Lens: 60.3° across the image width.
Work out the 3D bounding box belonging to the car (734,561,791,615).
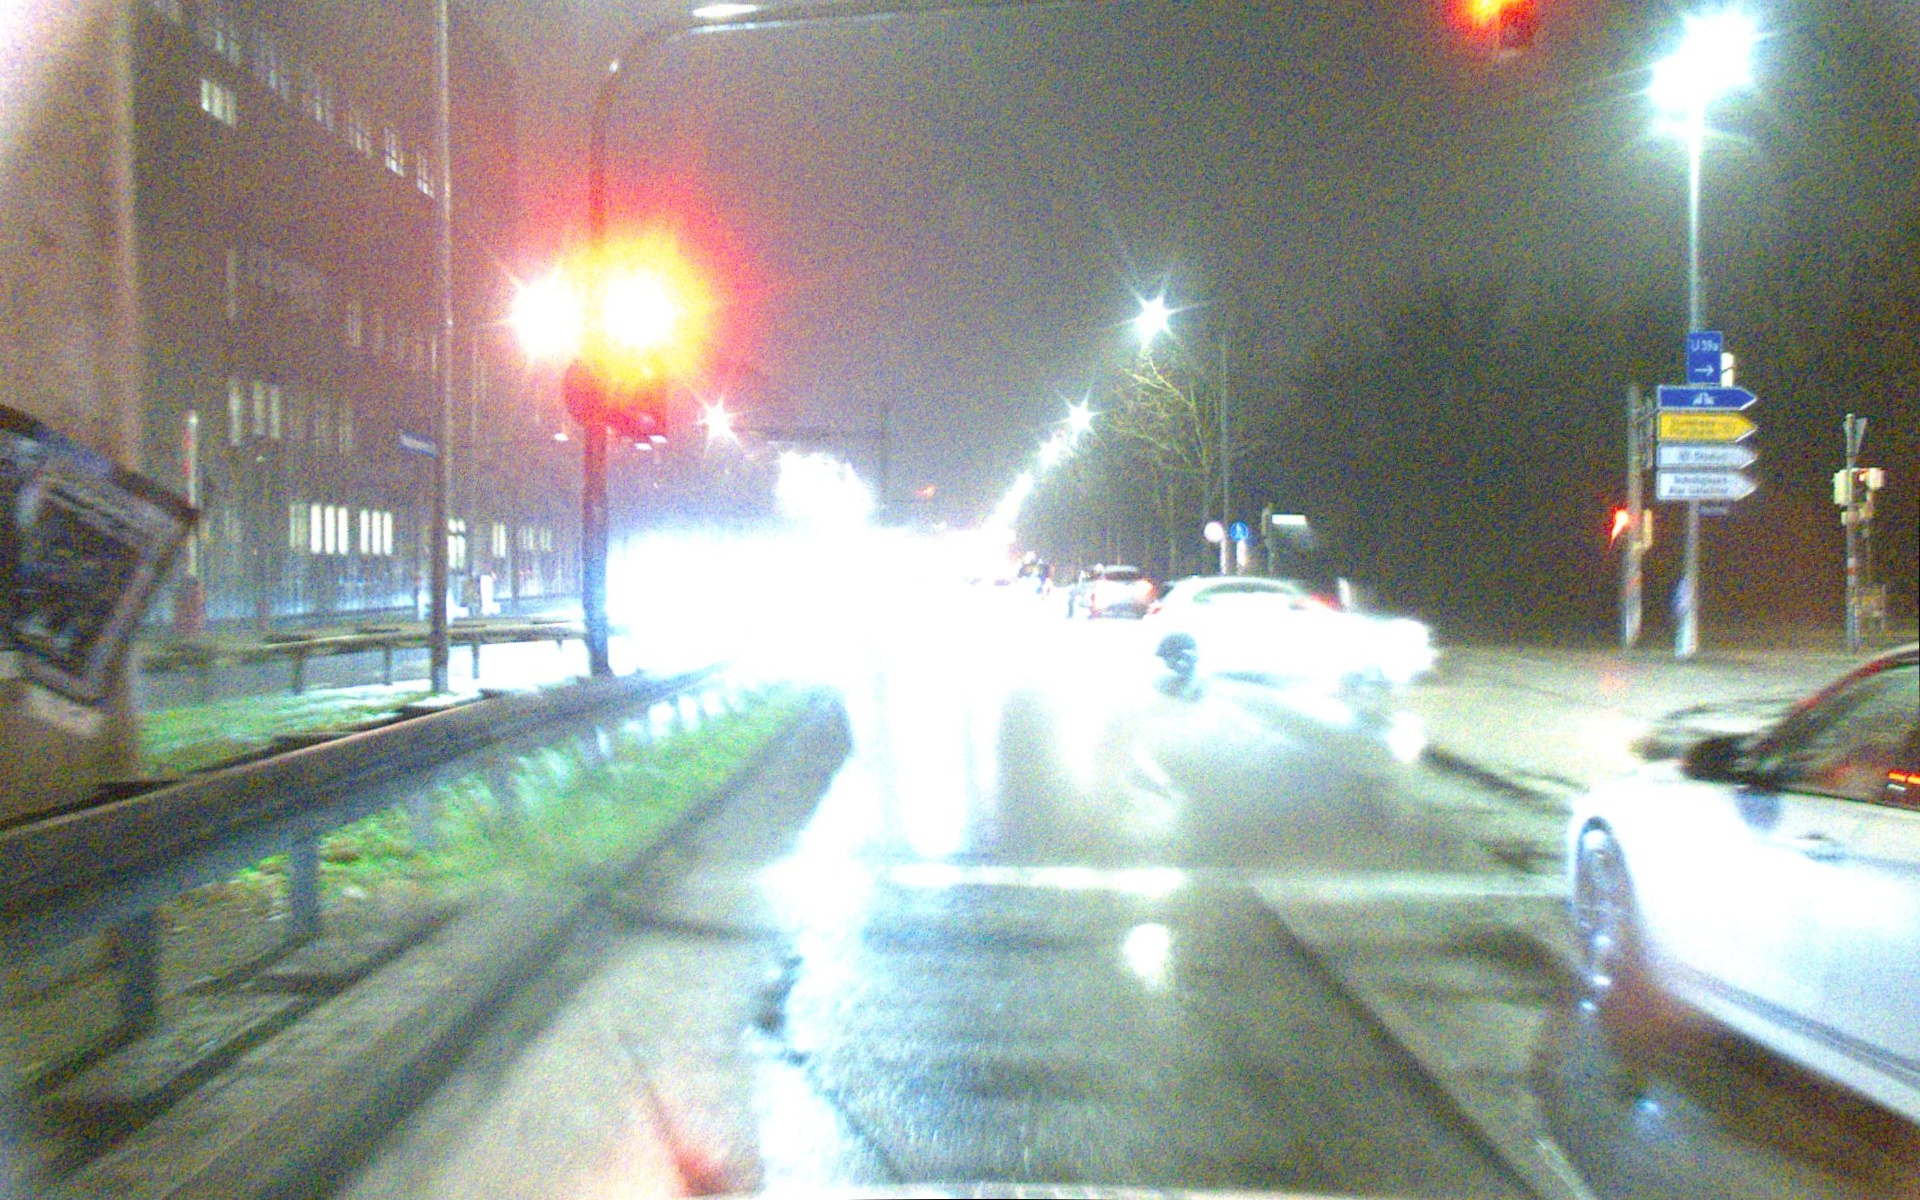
[{"bbox_3d":[-7.718,-0.457,65.011,1.663,2.049,3.569,0,0,2],"label":"car"}]

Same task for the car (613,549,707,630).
[{"bbox_3d":[-6.941,-0.216,38.033,1.690,1.764,3.746,0,0,-17],"label":"car"}]

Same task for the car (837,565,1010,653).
[{"bbox_3d":[-0.838,0.180,34.484,1.814,1.700,4.420,0,0,-29],"label":"car"}]

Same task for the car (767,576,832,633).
[{"bbox_3d":[-4.850,0.134,49.886,1.865,1.646,4.508,0,0,-6],"label":"car"}]

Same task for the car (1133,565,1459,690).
[{"bbox_3d":[4.862,0.364,24.053,4.329,1.678,1.834,0,0,28],"label":"car"}]

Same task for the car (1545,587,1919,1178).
[{"bbox_3d":[3.253,0.705,4.528,1.685,1.472,4.382,-2,0,-1],"label":"car"}]

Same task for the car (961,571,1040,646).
[{"bbox_3d":[1.116,0.236,47.823,1.997,2.049,4.305,0,0,-2],"label":"car"}]

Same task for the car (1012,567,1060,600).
[{"bbox_3d":[3.728,-0.795,81.755,2.049,1.572,4.305,0,0,-2],"label":"car"}]

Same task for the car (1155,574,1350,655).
[{"bbox_3d":[6.824,0.316,38.465,4.203,1.816,2.046,0,0,19],"label":"car"}]

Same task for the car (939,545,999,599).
[{"bbox_3d":[0.346,-1.153,71.180,2.392,2.232,5.076,0,0,-2],"label":"car"}]

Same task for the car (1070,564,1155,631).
[{"bbox_3d":[4.859,-0.065,53.260,1.998,2.049,4.302,0,0,-5],"label":"car"}]
